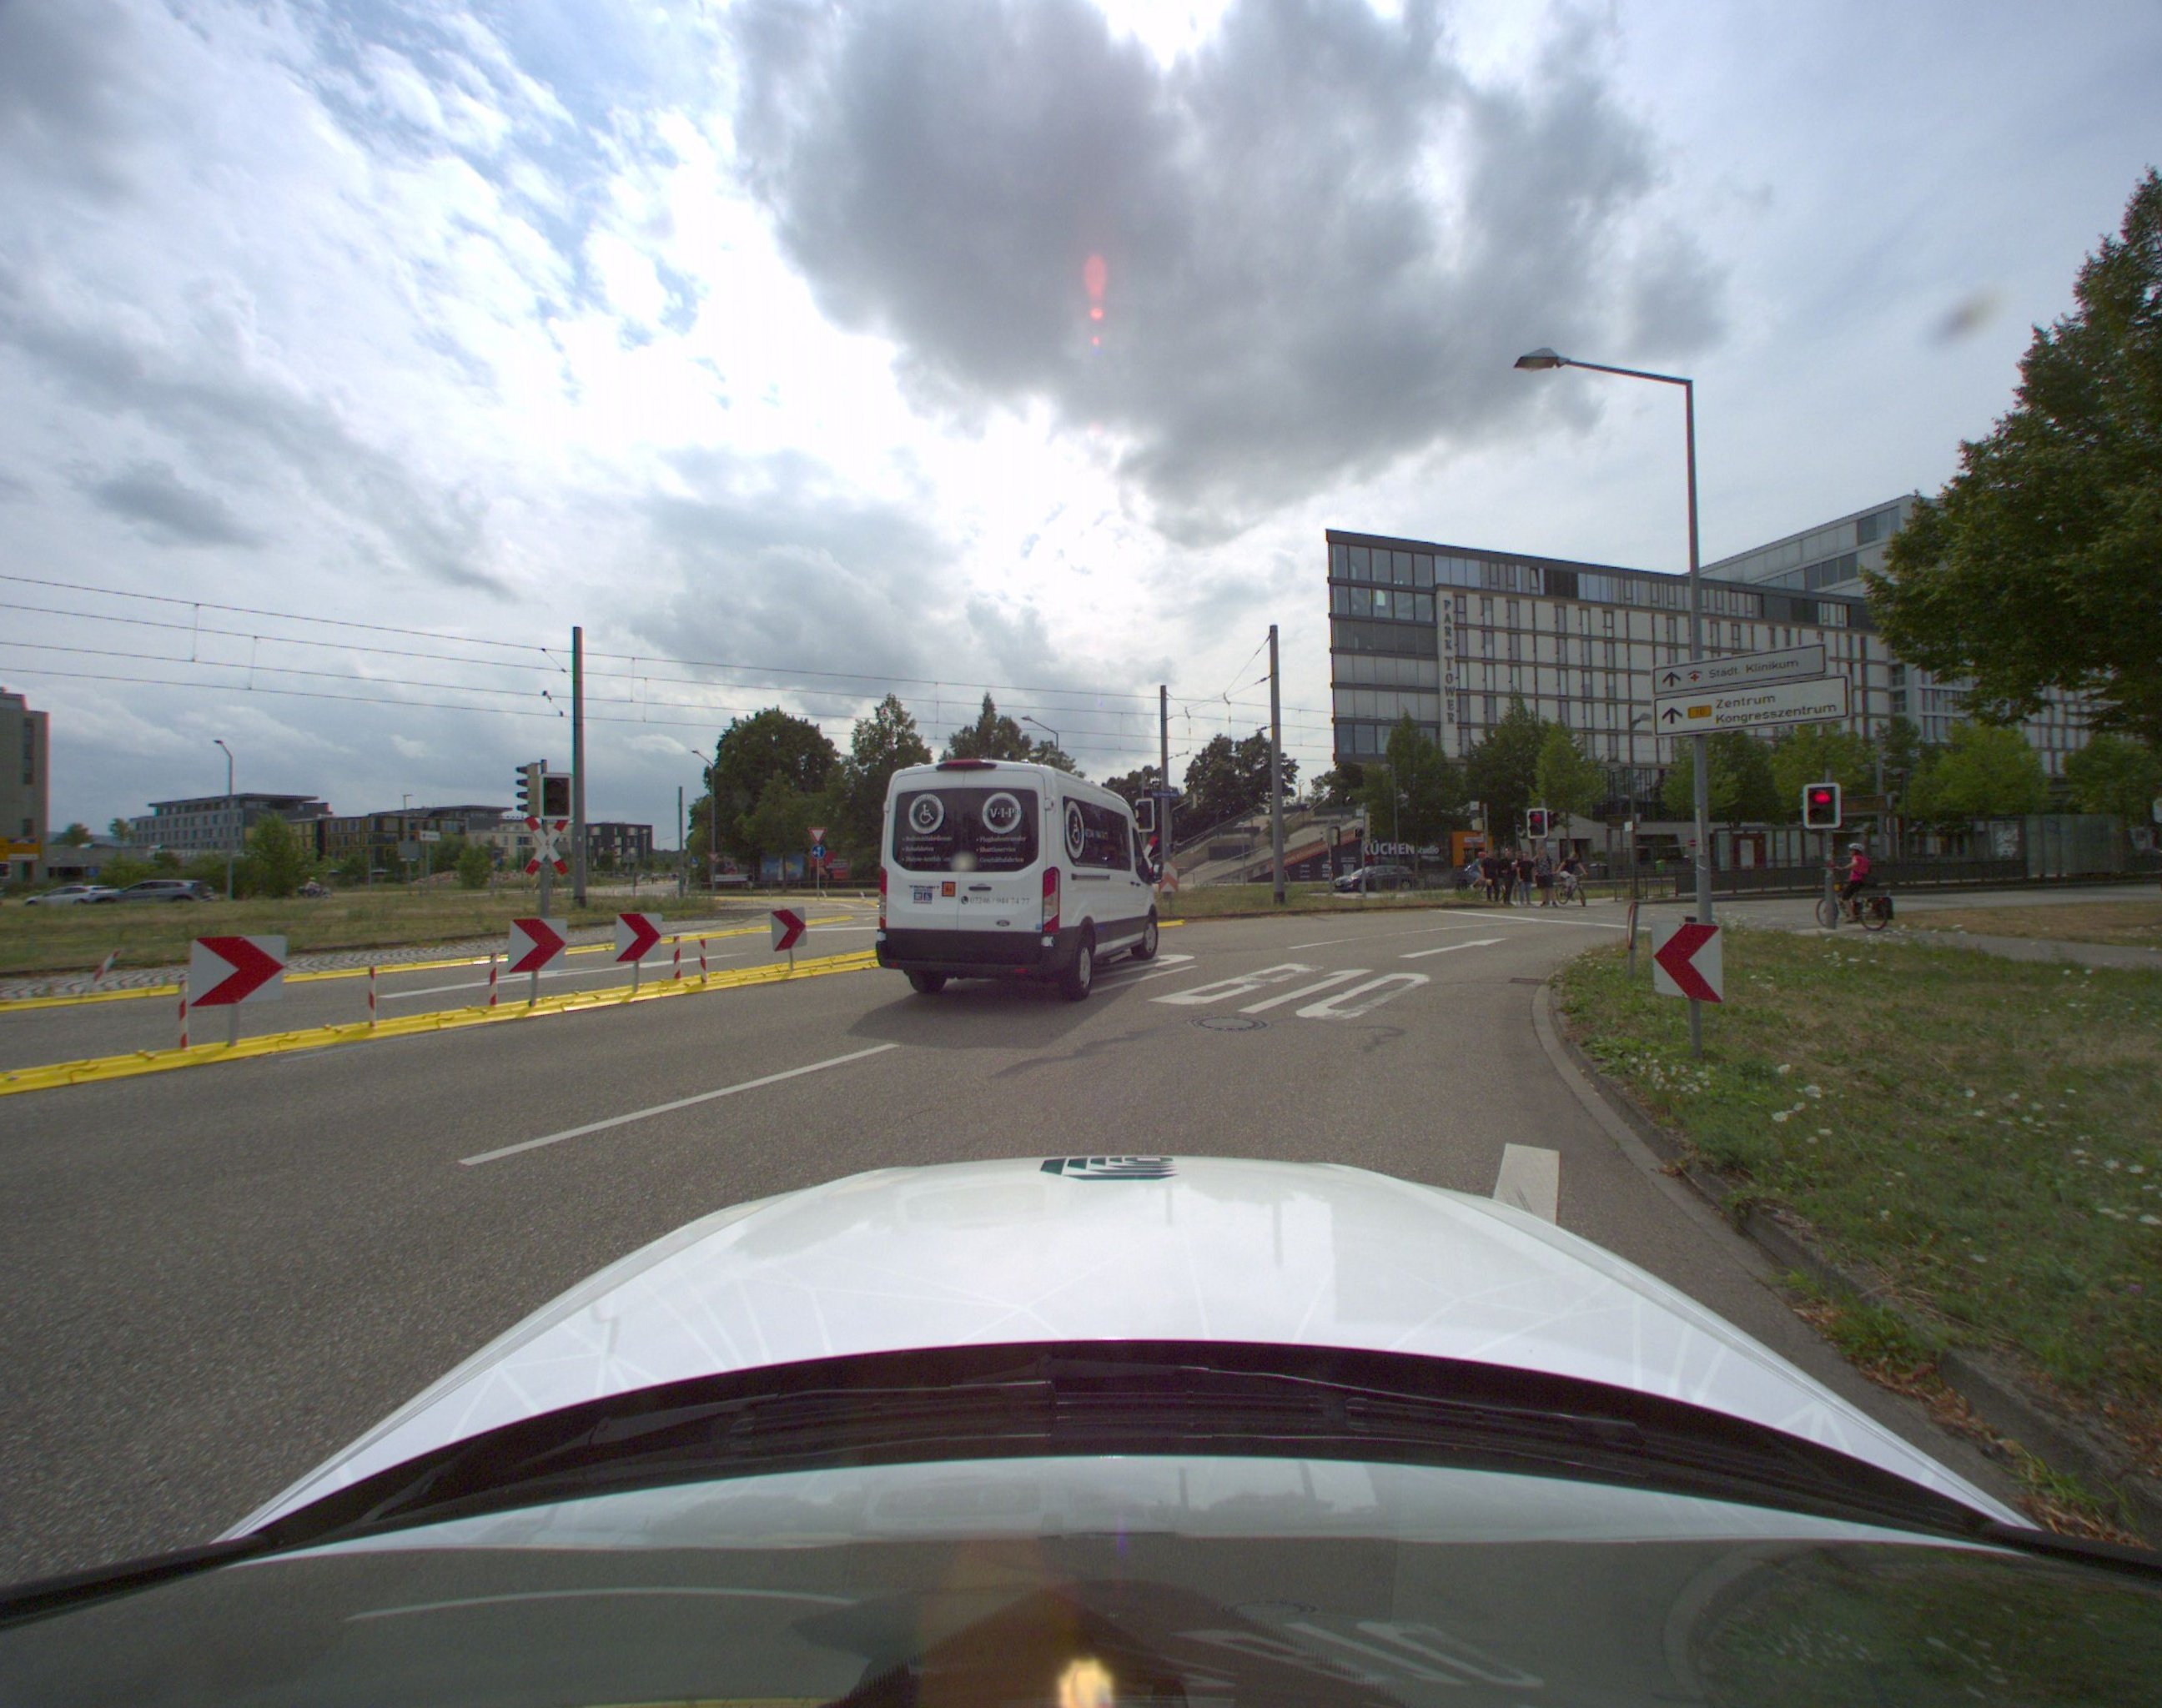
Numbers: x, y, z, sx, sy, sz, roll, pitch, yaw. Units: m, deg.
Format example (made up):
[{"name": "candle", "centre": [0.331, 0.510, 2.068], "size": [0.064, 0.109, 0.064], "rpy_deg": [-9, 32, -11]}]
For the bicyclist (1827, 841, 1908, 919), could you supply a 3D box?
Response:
[{"name": "bicyclist", "centre": [16.966, 0.545, 17.594], "size": [0.783, 1.627, 1.053], "rpy_deg": [-2, -1, 13]}]

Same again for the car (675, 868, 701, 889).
[{"name": "car", "centre": [-39.155, 2.431, 81.137], "size": [2.006, 2.014, 3.960], "rpy_deg": [0, -3, -30]}]

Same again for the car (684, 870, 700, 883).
[{"name": "car", "centre": [-61.480, 3.560, 128.730], "size": [2.001, 1.849, 3.971], "rpy_deg": [0, -2, -21]}]

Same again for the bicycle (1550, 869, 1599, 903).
[{"name": "bicycle", "centre": [15.916, 1.011, 26.305], "size": [0.545, 1.058, 1.713], "rpy_deg": [-1, -1, 1]}]

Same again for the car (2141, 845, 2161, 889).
[{"name": "car", "centre": [40.909, 0.411, 29.273], "size": [4.473, 1.551, 2.052], "rpy_deg": [-1, -1, -18]}]

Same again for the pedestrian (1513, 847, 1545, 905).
[{"name": "pedestrian", "centre": [14.039, 0.676, 25.521], "size": [0.691, 1.781, 0.549], "rpy_deg": [0, -1, -23]}]

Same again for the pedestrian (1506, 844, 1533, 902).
[{"name": "pedestrian", "centre": [14.204, 0.602, 26.385], "size": [0.531, 1.862, 0.549], "rpy_deg": [0, -1, -22]}]

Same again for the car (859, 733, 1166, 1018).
[{"name": "car", "centre": [-0.442, 0.249, 10.681], "size": [2.110, 2.698, 5.655], "rpy_deg": [-2, -1, 16]}]

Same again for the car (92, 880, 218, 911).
[{"name": "car", "centre": [-49.282, 2.176, 43.438], "size": [4.008, 1.464, 1.817], "rpy_deg": [-1, -2, -26]}]

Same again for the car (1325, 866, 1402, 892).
[{"name": "car", "centre": [16.851, 1.467, 48.641], "size": [3.995, 1.458, 1.839], "rpy_deg": [-1, -1, -16]}]

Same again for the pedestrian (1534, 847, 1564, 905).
[{"name": "pedestrian", "centre": [14.747, 0.693, 25.652], "size": [0.581, 1.781, 0.549], "rpy_deg": [0, -1, -23]}]

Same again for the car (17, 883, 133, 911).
[{"name": "car", "centre": [-57.278, 2.427, 46.430], "size": [3.982, 1.464, 1.829], "rpy_deg": [-1, -2, -6]}]

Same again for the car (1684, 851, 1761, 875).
[{"name": "car", "centre": [41.070, 0.593, 52.147], "size": [3.994, 1.458, 1.839], "rpy_deg": [-1, -1, -15]}]

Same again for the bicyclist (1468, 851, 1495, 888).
[{"name": "bicyclist", "centre": [14.807, 0.568, 30.117], "size": [0.643, 1.317, 0.667], "rpy_deg": [0, -1, -36]}]

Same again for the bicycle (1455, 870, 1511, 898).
[{"name": "bicycle", "centre": [14.836, 1.096, 30.063], "size": [0.657, 1.007, 1.737], "rpy_deg": [0, -1, -35]}]

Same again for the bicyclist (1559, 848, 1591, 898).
[{"name": "bicyclist", "centre": [15.905, 0.613, 26.224], "size": [0.556, 1.580, 0.766], "rpy_deg": [-1, -1, 1]}]

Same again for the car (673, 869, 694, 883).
[{"name": "car", "centre": [-55.669, 3.137, 114.209], "size": [1.998, 1.849, 3.976], "rpy_deg": [0, -2, -17]}]

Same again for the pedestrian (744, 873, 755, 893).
[{"name": "pedestrian", "centre": [-26.743, 2.315, 65.701], "size": [0.443, 1.594, 0.676], "rpy_deg": [-2, -1, 32]}]

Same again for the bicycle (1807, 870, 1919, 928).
[{"name": "bicycle", "centre": [17.023, 0.950, 17.803], "size": [0.784, 1.168, 2.048], "rpy_deg": [-2, -1, 12]}]

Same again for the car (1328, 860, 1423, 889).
[{"name": "car", "centre": [16.070, 1.099, 44.503], "size": [4.732, 1.458, 1.839], "rpy_deg": [-1, -1, -16]}]

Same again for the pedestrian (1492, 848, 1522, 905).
[{"name": "pedestrian", "centre": [13.599, 0.703, 26.005], "size": [0.634, 1.781, 0.549], "rpy_deg": [0, -1, -23]}]

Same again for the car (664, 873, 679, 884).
[{"name": "car", "centre": [-71.184, 4.294, 141.461], "size": [2.001, 1.849, 3.970], "rpy_deg": [0, -2, -22]}]

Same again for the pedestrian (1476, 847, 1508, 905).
[{"name": "pedestrian", "centre": [12.947, 0.691, 25.654], "size": [0.691, 1.781, 0.549], "rpy_deg": [0, -1, -23]}]
